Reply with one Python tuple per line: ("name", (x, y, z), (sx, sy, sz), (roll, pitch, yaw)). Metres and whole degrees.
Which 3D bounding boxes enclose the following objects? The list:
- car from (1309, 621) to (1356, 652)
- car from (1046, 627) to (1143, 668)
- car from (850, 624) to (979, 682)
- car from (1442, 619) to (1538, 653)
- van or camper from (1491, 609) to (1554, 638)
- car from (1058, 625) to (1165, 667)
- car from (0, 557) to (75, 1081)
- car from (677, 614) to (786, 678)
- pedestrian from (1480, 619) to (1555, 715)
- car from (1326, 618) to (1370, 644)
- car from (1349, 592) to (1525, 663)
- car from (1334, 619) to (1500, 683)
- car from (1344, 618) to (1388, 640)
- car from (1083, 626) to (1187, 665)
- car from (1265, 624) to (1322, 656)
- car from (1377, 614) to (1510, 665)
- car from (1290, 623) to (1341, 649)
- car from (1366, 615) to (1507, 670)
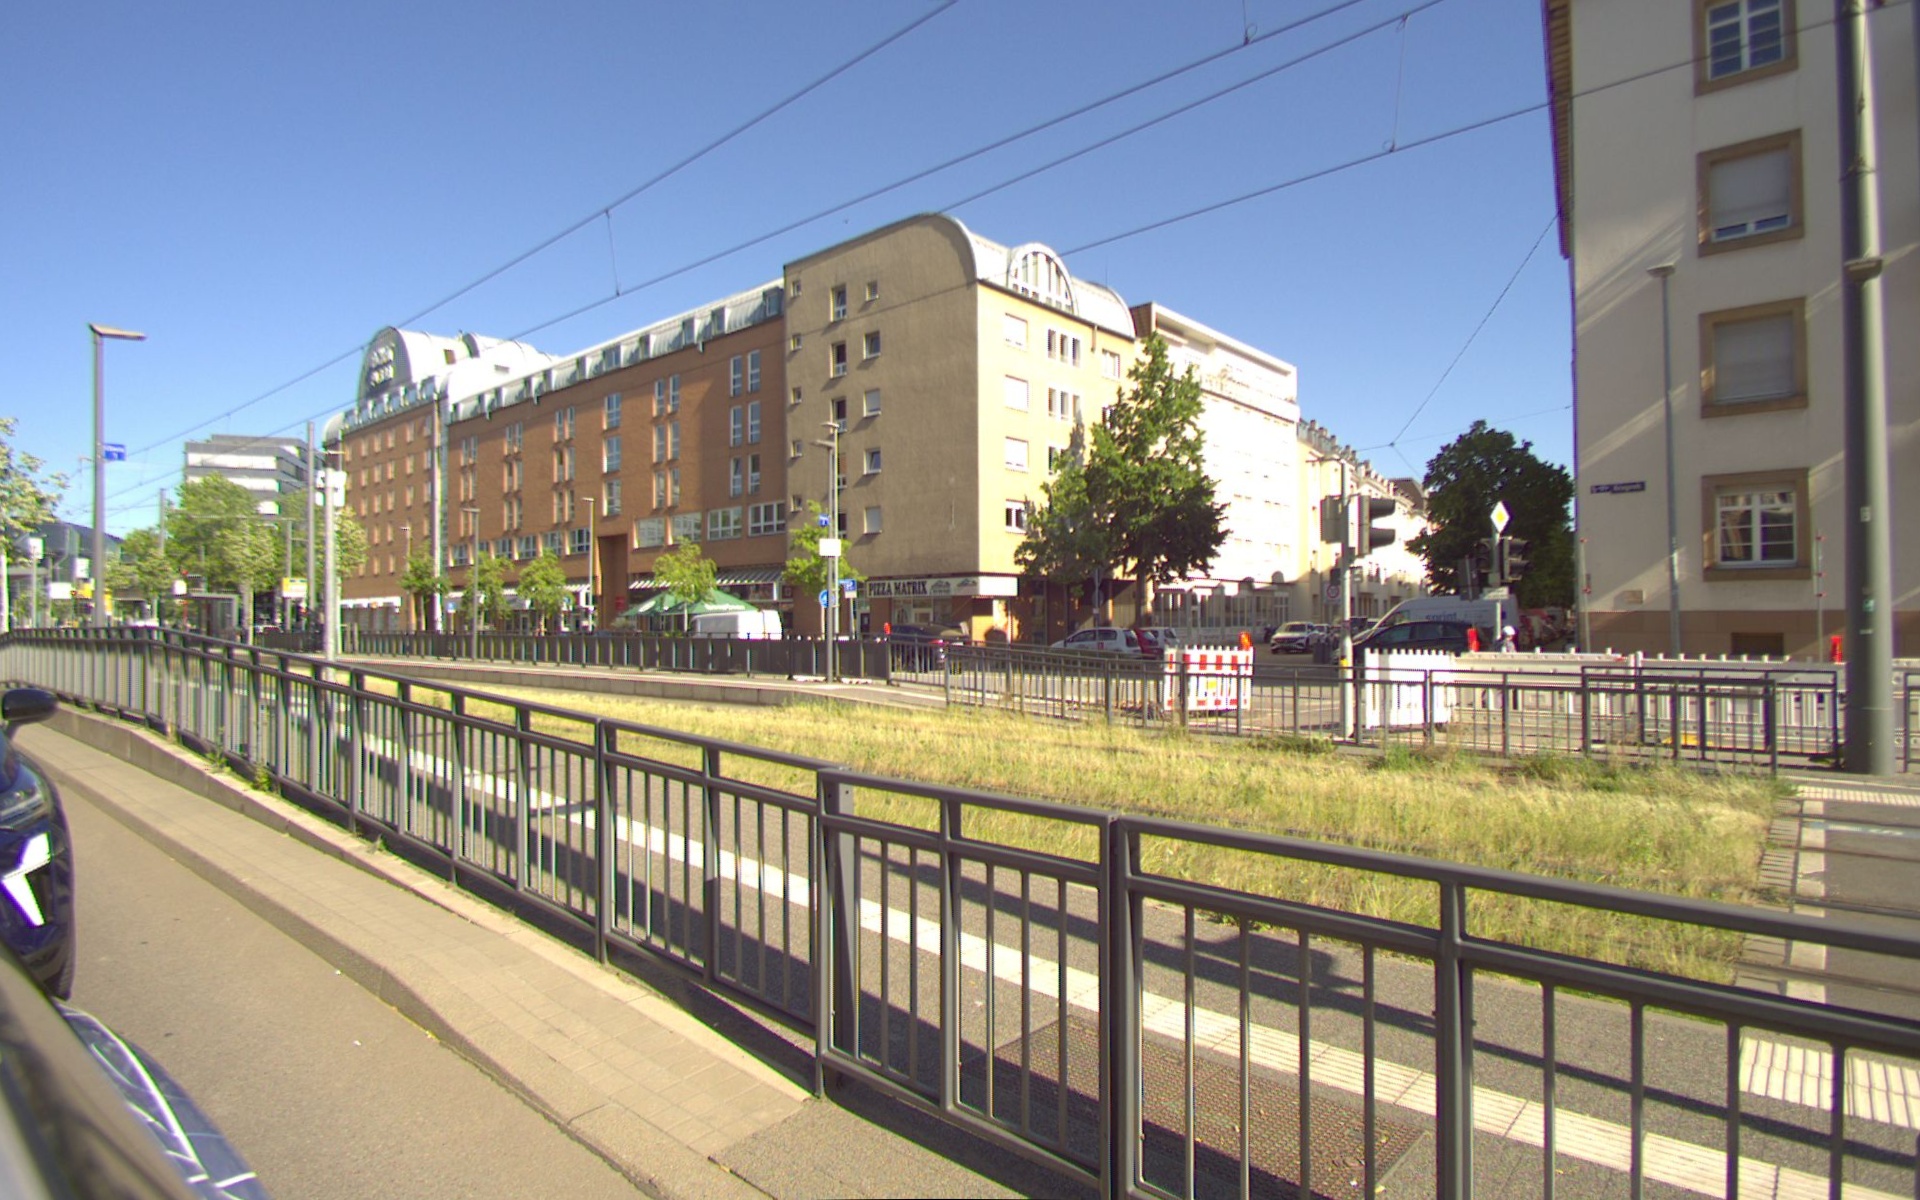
("car", (22.794, 2.218, 61.819), (1.839, 1.730, 4.033), (-1, 0, 34))
("car", (5.091, 1.776, 38.353), (3.334, 1.438, 1.424), (-1, 0, 29))
("car", (-1.487, 1.621, 32.023), (3.996, 1.652, 1.677), (-1, 0, 39))
("car", (25.747, 1.721, 49.192), (3.988, 1.567, 1.848), (-1, 0, 33))
("van or camper", (44.858, 1.898, 80.770), (4.332, 2.231, 1.931), (-1, 0, 32))
("car", (6.022, 1.790, 40.378), (3.955, 1.564, 1.457), (-1, 0, 33))
("car", (-5.058, 0.741, 4.007), (4.418, 1.597, 1.736), (-2, 1, 41))
("car", (-9.091, 1.749, 40.007), (1.969, 2.314, 5.197), (-1, 0, -41))
("pedestrian", (9.038, 1.066, 16.421), (0.792, 1.515, 0.713), (0, -2, -27))
("car", (25.290, 2.002, 65.867), (1.993, 1.630, 4.141), (-1, -2, 31))
("car", (17.644, 0.971, 37.582), (5.737, 2.473, 1.979), (-1, 0, 32))
("car", (12.969, 1.395, 28.818), (3.994, 1.652, 1.846), (-1, 0, 37))
("car", (28.276, 2.032, 70.436), (1.995, 1.473, 4.137), (-1, -2, 34))
("car", (7.331, 1.870, 42.596), (3.997, 1.497, 1.693), (-1, 0, 40))
("car", (17.733, 2.098, 53.711), (1.993, 1.630, 4.141), (-1, -2, 31))
("car", (16.823, 1.342, 35.271), (3.989, 1.652, 1.848), (-1, 0, 33))
("car", (20.513, 2.082, 58.291), (1.993, 1.457, 4.141), (-1, -2, 31))
("car", (15.697, 1.357, 33.383), (3.989, 1.652, 1.848), (-1, 0, 33))
